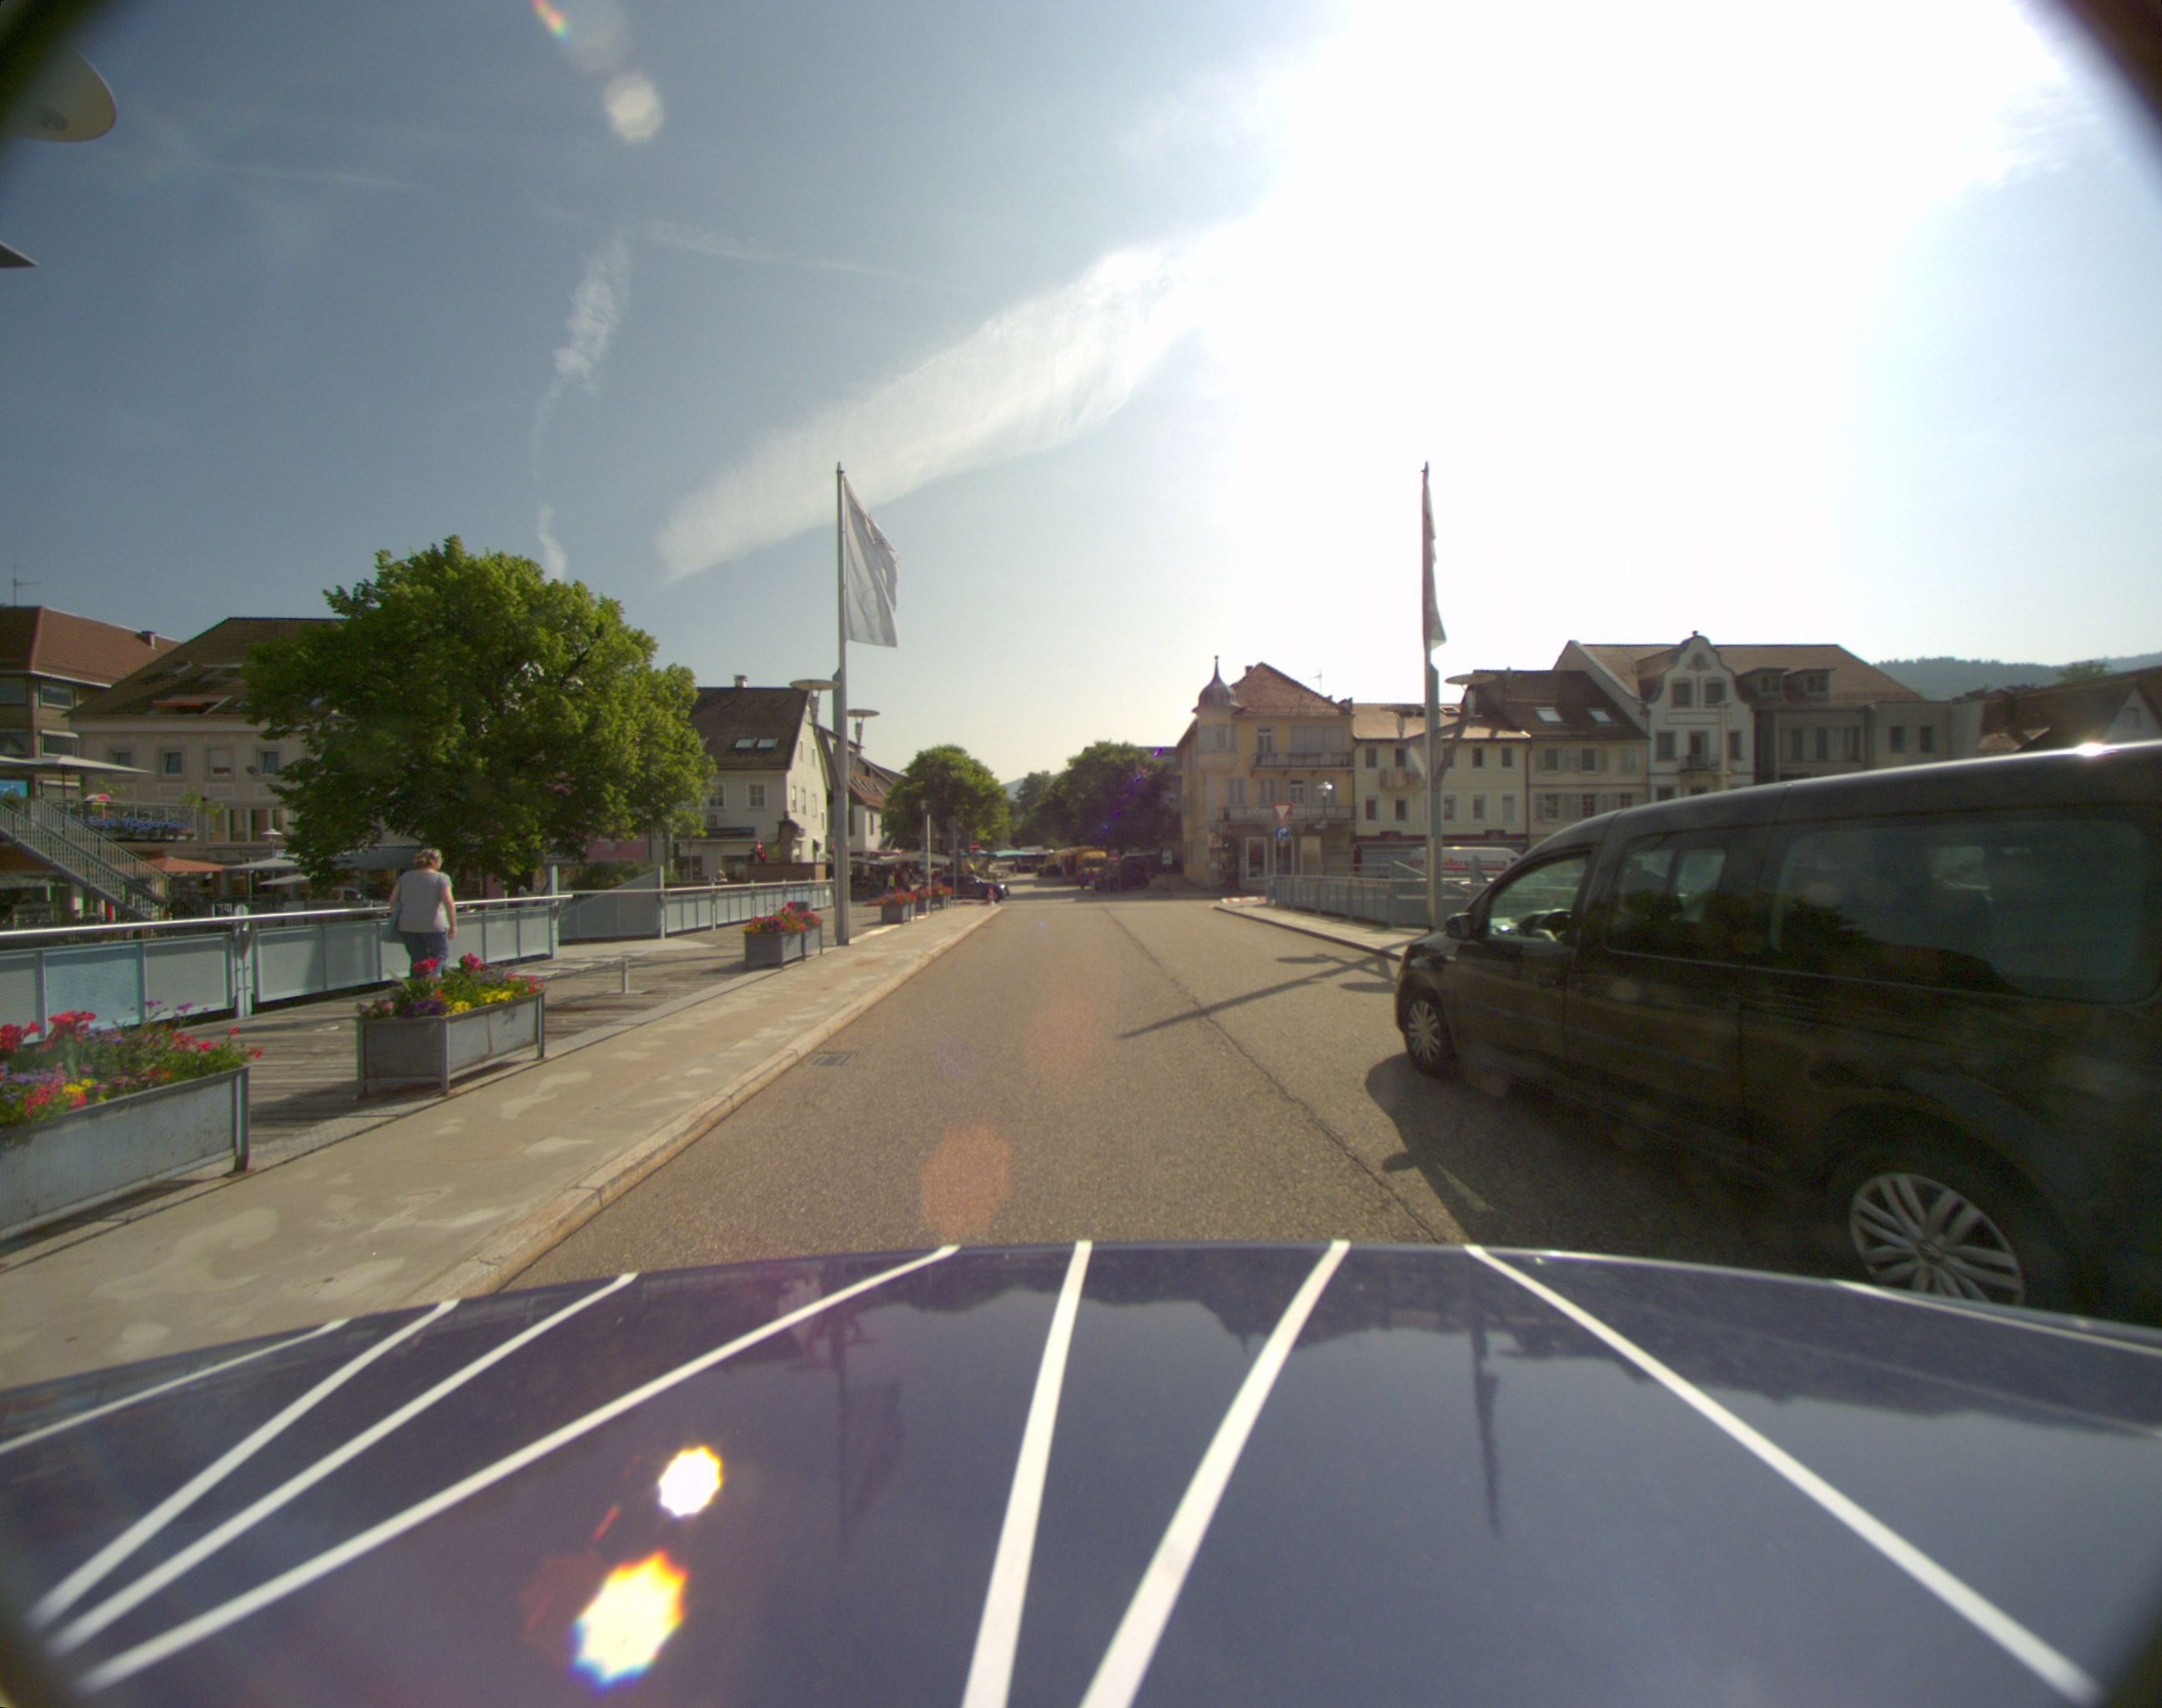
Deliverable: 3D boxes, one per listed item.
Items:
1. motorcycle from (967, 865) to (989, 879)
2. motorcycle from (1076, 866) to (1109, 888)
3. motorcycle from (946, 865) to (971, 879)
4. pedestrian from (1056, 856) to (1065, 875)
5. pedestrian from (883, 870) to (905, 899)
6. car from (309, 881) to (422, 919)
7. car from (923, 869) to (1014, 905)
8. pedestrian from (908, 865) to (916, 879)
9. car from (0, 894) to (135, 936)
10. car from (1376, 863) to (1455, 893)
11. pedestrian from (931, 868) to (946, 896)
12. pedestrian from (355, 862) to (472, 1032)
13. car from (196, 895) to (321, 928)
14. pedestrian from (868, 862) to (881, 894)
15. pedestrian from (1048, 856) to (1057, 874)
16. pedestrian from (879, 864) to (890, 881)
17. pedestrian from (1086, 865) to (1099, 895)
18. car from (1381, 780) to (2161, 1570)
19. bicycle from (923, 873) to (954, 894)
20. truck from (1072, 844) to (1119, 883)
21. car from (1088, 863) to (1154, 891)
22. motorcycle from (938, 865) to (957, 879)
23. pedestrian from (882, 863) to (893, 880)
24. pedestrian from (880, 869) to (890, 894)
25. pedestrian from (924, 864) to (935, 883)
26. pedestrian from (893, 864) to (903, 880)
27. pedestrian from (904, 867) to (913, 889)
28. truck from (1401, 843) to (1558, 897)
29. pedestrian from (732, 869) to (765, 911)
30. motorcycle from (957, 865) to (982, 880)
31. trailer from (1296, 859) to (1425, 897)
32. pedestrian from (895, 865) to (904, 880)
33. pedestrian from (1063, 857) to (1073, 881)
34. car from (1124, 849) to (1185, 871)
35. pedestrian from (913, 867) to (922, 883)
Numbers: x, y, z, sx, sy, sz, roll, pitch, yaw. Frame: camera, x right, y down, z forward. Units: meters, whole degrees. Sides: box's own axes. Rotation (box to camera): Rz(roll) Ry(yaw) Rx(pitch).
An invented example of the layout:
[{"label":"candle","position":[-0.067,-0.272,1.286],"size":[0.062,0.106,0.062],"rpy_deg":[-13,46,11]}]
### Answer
[{"label":"motorcycle","position":[-9.074,1.610,67.009],"size":[1.999,1.188,0.645],"rpy_deg":[2,0,39]},{"label":"motorcycle","position":[0.786,1.529,51.244],"size":[2.087,1.353,0.888],"rpy_deg":[-3,0,-4]},{"label":"motorcycle","position":[-10.540,1.550,65.324],"size":[2.002,1.189,0.644],"rpy_deg":[2,1,11]},{"label":"pedestrian","position":[-1.937,1.065,71.283],"size":[0.682,1.672,0.582],"rpy_deg":[-3,2,-20]},{"label":"pedestrian","position":[-10.799,1.770,43.936],"size":[0.786,1.623,0.860],"rpy_deg":[0,3,27]},{"label":"car","position":[-38.024,2.422,40.456],"size":[4.144,1.729,1.710],"rpy_deg":[-2,2,-5]},{"label":"car","position":[-5.736,1.662,39.080],"size":[4.498,1.557,1.824],"rpy_deg":[-2,2,-5]},{"label":"pedestrian","position":[-14.179,1.506,63.688],"size":[0.572,1.194,0.650],"rpy_deg":[1,1,-2]},{"label":"car","position":[-45.681,2.713,33.784],"size":[4.593,1.588,1.750],"rpy_deg":[-2,1,-5]},{"label":"car","position":[18.734,1.326,42.634],"size":[3.566,1.559,1.852],"rpy_deg":[-1,0,-4]},{"label":"pedestrian","position":[-8.806,1.732,46.989],"size":[0.884,1.649,0.571],"rpy_deg":[1,1,-14]},{"label":"pedestrian","position":[-6.670,0.898,7.623],"size":[0.668,1.609,0.562],"rpy_deg":[-1,0,-14]},{"label":"car","position":[-40.165,2.792,37.178],"size":[3.999,1.439,1.735],"rpy_deg":[-1,0,-5]},{"label":"pedestrian","position":[-12.969,1.483,47.741],"size":[0.708,1.973,0.651],"rpy_deg":[-1,0,-24]},{"label":"pedestrian","position":[-2.676,1.064,71.697],"size":[0.682,1.672,0.582],"rpy_deg":[-3,0,-17]},{"label":"pedestrian","position":[-15.873,1.478,61.394],"size":[0.626,1.323,0.699],"rpy_deg":[1,1,1]},{"label":"pedestrian","position":[0.680,1.525,44.811],"size":[0.680,1.705,0.617],"rpy_deg":[-2,1,-3]},{"label":"car","position":[3.233,0.712,3.302],"size":[1.781,1.782,4.696],"rpy_deg":[-2,0,-3]},{"label":"bicycle","position":[-9.053,1.869,48.166],"size":[1.863,1.228,0.616],"rpy_deg":[-1,0,-16]},{"label":"truck","position":[1.001,0.631,59.208],"size":[3.009,2.742,8.857],"rpy_deg":[-2,1,-3]},{"label":"car","position":[2.573,1.416,48.708],"size":[3.966,1.534,1.918],"rpy_deg":[-3,2,-42]},{"label":"motorcycle","position":[-11.586,1.562,66.164],"size":[1.532,1.189,0.643],"rpy_deg":[2,0,-3]},{"label":"pedestrian","position":[-15.875,1.445,62.318],"size":[0.626,1.323,0.699],"rpy_deg":[1,1,1]},{"label":"pedestrian","position":[-13.121,1.827,50.797],"size":[0.522,1.617,0.707],"rpy_deg":[-1,0,-7]},{"label":"pedestrian","position":[-12.237,1.557,61.246],"size":[0.698,1.544,0.572],"rpy_deg":[1,1,3]},{"label":"pedestrian","position":[-15.099,1.478,62.704],"size":[0.626,1.323,0.699],"rpy_deg":[1,1,1]},{"label":"pedestrian","position":[-11.918,1.649,52.548],"size":[0.622,1.509,0.632],"rpy_deg":[-1,0,-12]},{"label":"truck","position":[20.569,0.812,39.357],"size":[7.131,2.682,2.111],"rpy_deg":[0,-2,-5]},{"label":"pedestrian","position":[-14.934,1.635,34.138],"size":[1.018,1.803,0.910],"rpy_deg":[-4,-5,34]},{"label":"motorcycle","position":[-9.652,1.589,65.996],"size":[2.002,1.189,0.644],"rpy_deg":[2,0,11]},{"label":"trailer","position":[14.244,1.195,38.837],"size":[5.639,1.816,2.617],"rpy_deg":[0,-1,-12]},{"label":"pedestrian","position":[-14.656,1.497,61.397],"size":[0.572,1.194,0.650],"rpy_deg":[1,1,-2]},{"label":"pedestrian","position":[-1.031,1.184,60.183],"size":[0.681,1.776,0.726],"rpy_deg":[-3,2,-5]},{"label":"car","position":[6.548,0.539,67.924],"size":[5.072,1.880,1.999],"rpy_deg":[-1,0,-7]},{"label":"pedestrian","position":[-13.006,1.667,60.476],"size":[0.700,1.194,0.571],"rpy_deg":[1,1,-16]}]
